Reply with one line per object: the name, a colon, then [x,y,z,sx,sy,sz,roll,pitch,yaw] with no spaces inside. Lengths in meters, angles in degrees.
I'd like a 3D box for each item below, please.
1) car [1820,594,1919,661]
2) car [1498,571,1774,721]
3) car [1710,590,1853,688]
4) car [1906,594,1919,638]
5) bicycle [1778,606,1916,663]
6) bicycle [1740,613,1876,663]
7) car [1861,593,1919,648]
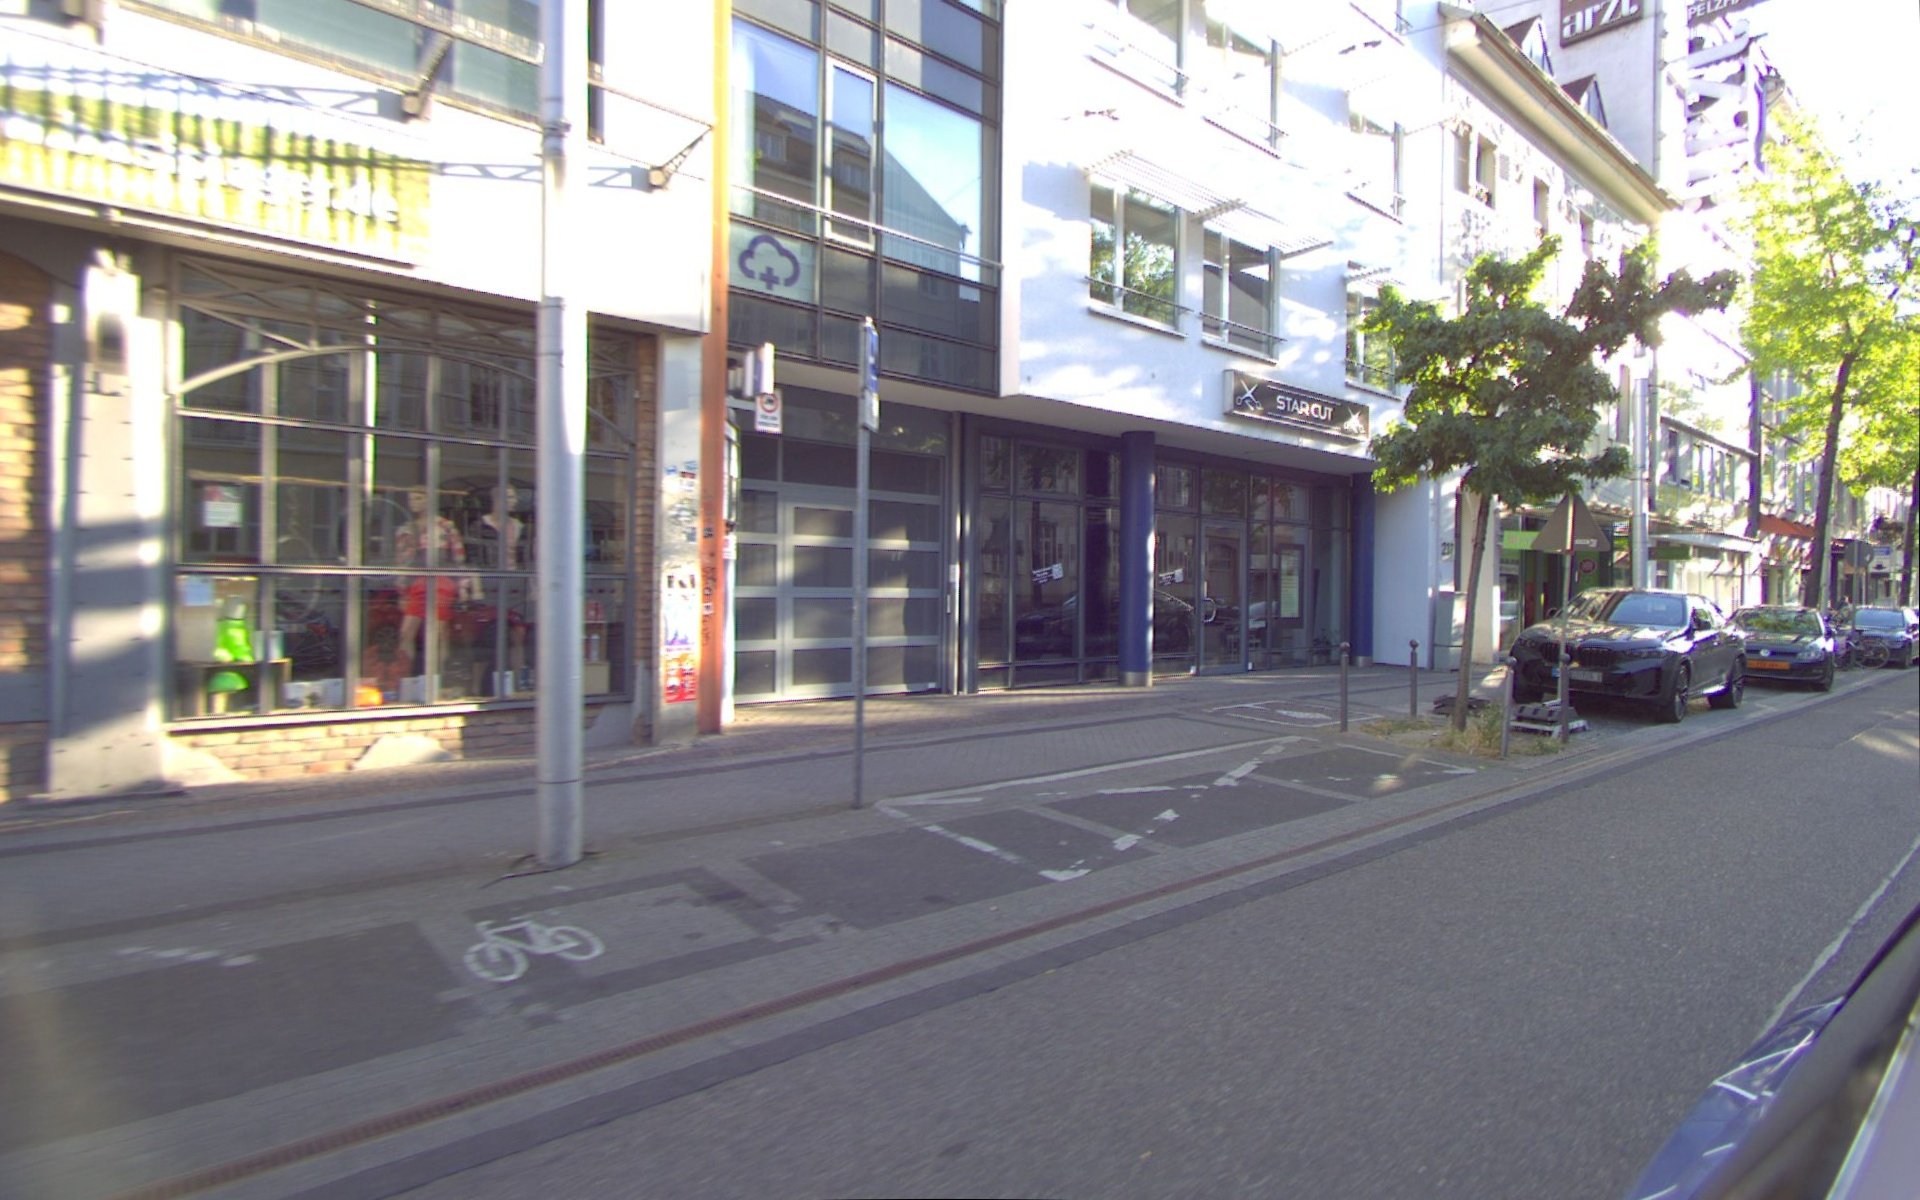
car: [23.090,0.618,25.272,4.210,1.530,1.769,0,0,-40]
car: [9.710,0.521,14.379,4.788,1.709,1.985,0,3,-41]
car: [15.665,0.636,19.225,1.864,1.529,4.181,4,3,41]
car: [35.632,0.594,36.431,3.915,1.529,1.798,0,3,-40]
bicycle: [20.487,0.774,23.427,0.737,1.203,2.325,0,1,-38]
bicycle: [18.875,0.821,22.590,0.603,1.000,2.250,0,1,-38]
car: [29.232,0.601,30.978,4.211,1.529,1.869,0,3,-40]
